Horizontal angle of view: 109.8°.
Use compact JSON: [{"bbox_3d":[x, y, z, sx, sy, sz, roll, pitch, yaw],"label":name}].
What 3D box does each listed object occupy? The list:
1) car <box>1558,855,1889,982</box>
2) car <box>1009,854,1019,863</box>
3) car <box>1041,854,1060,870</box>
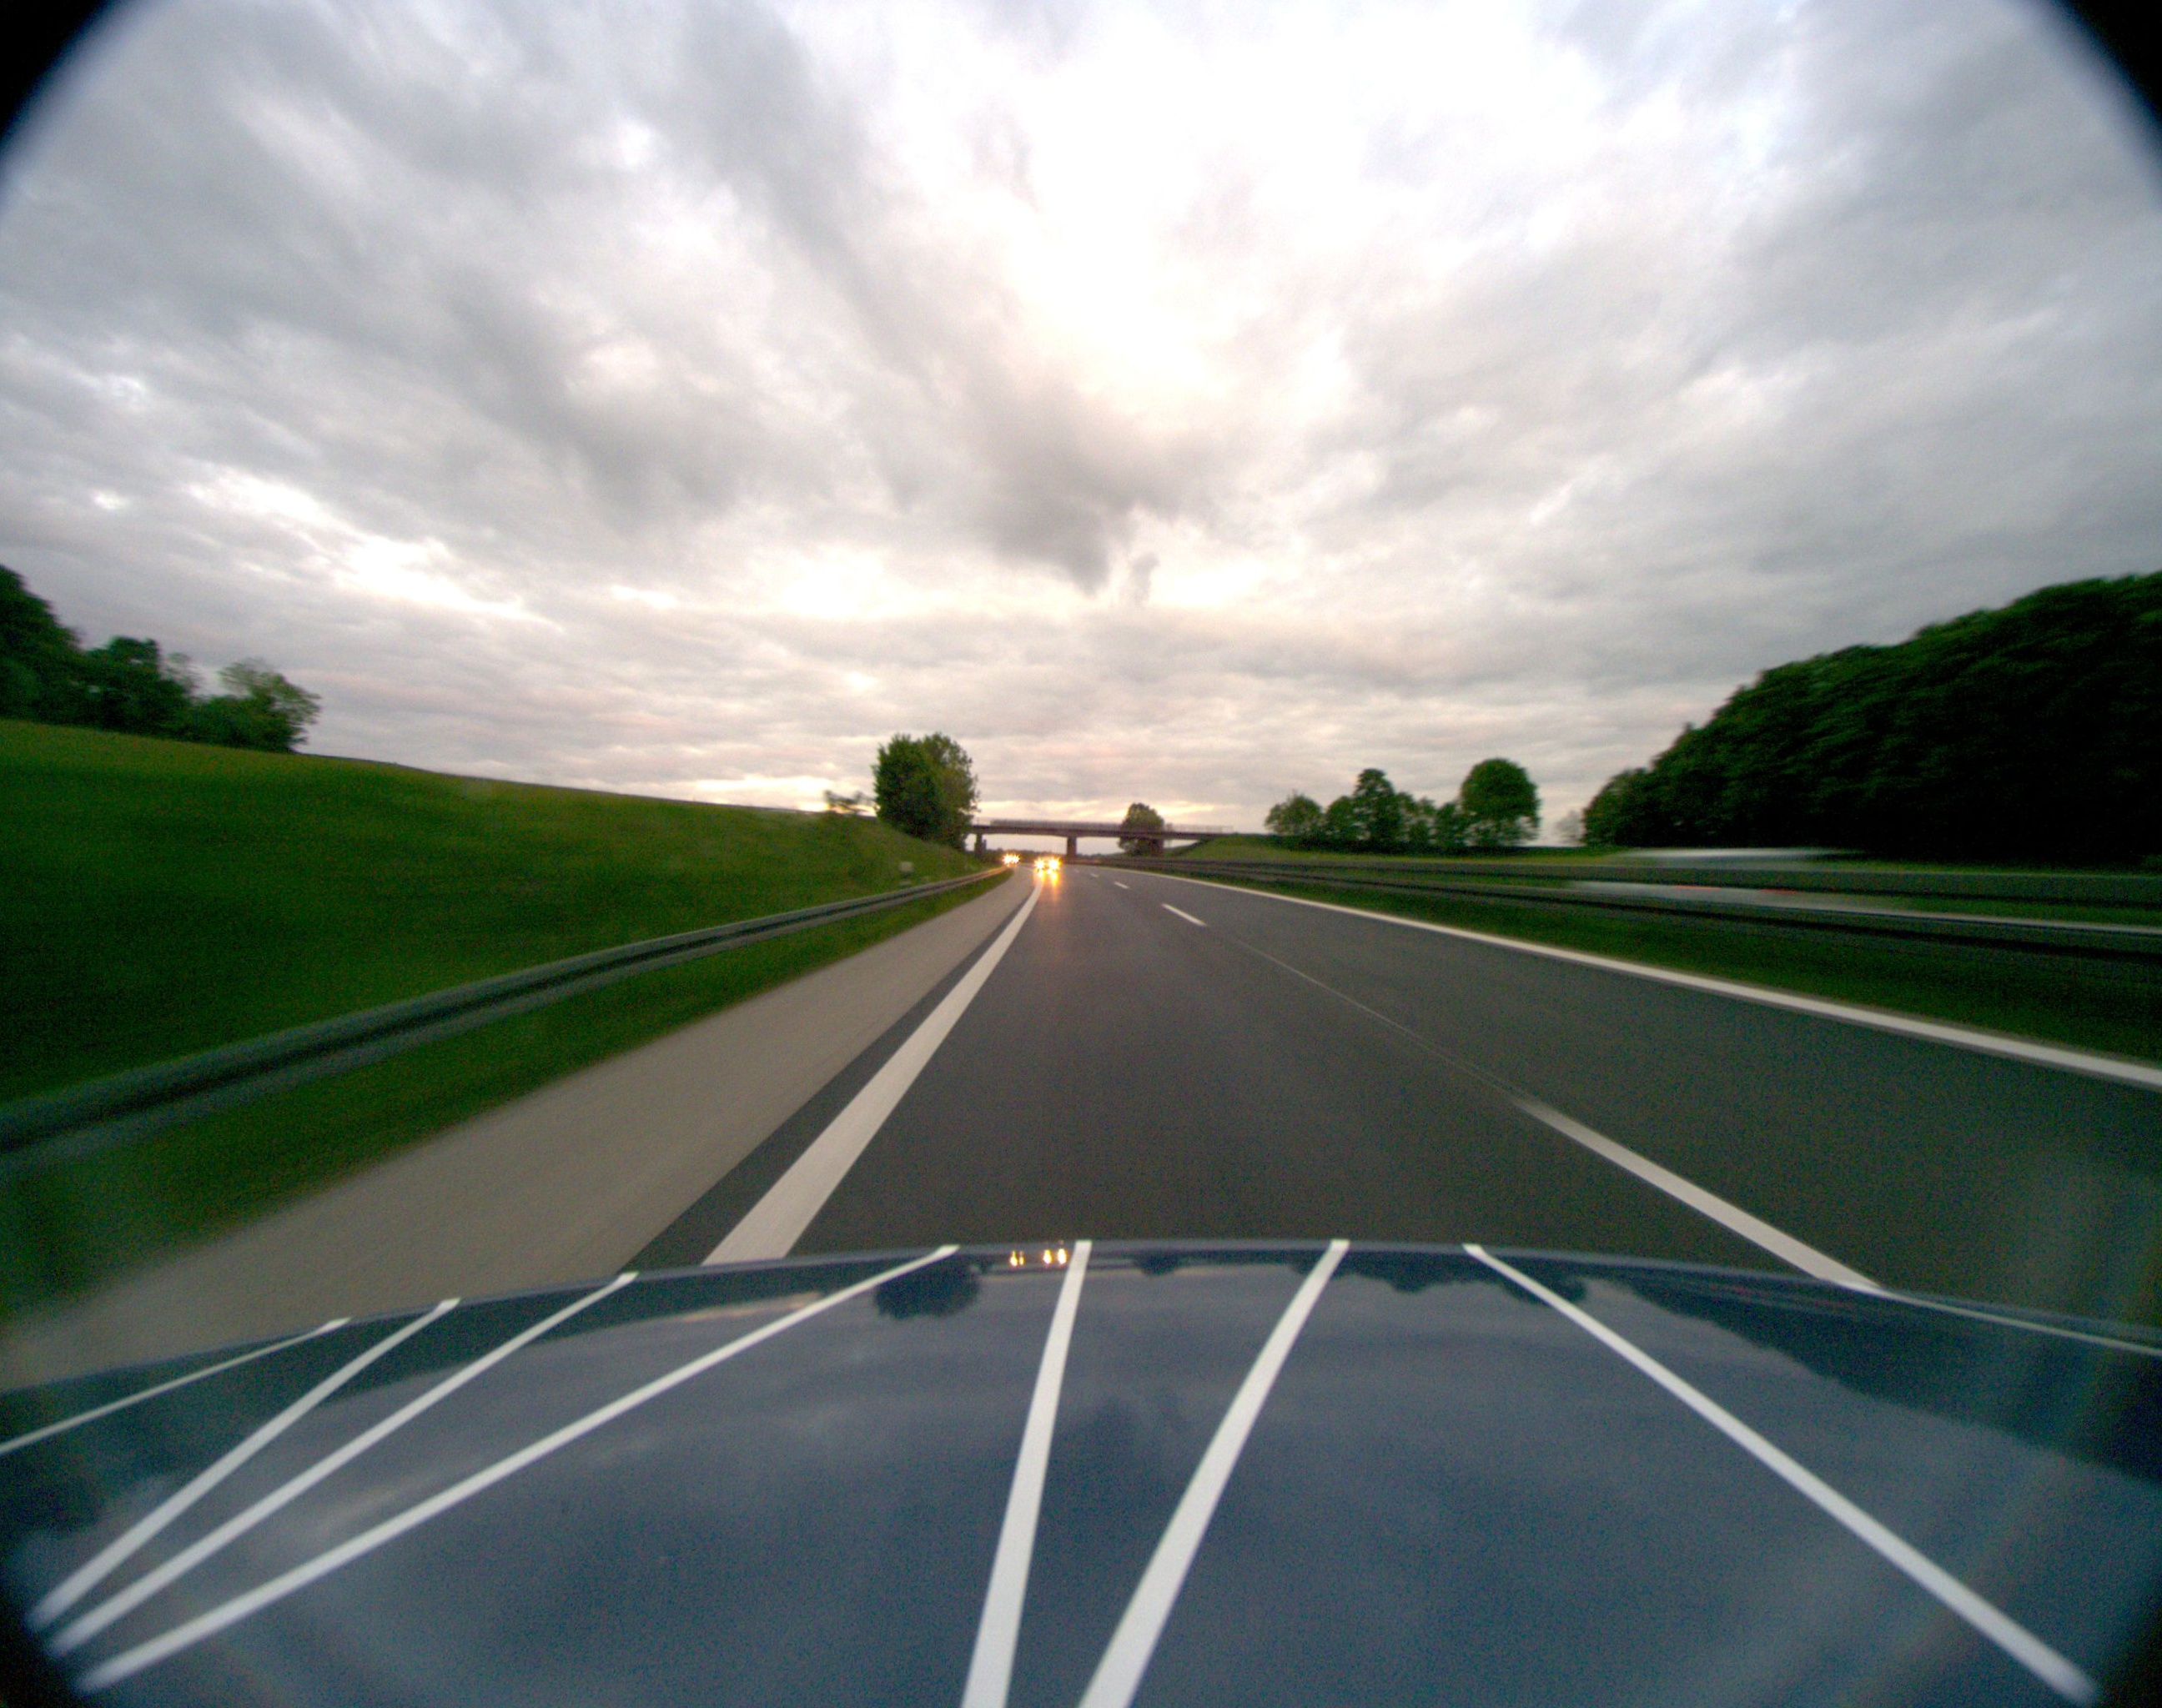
[{"bbox_3d":[12.075,1.066,14.941,1.999,2.002,5.168,1,1,-2],"label":"car"},{"bbox_3d":[-14.015,0.930,158.487,1.921,1.826,3.998,1,-1,-8],"label":"car"},{"bbox_3d":[-2.999,0.790,73.948,1.682,1.504,3.998,1,0,-4],"label":"car"}]
